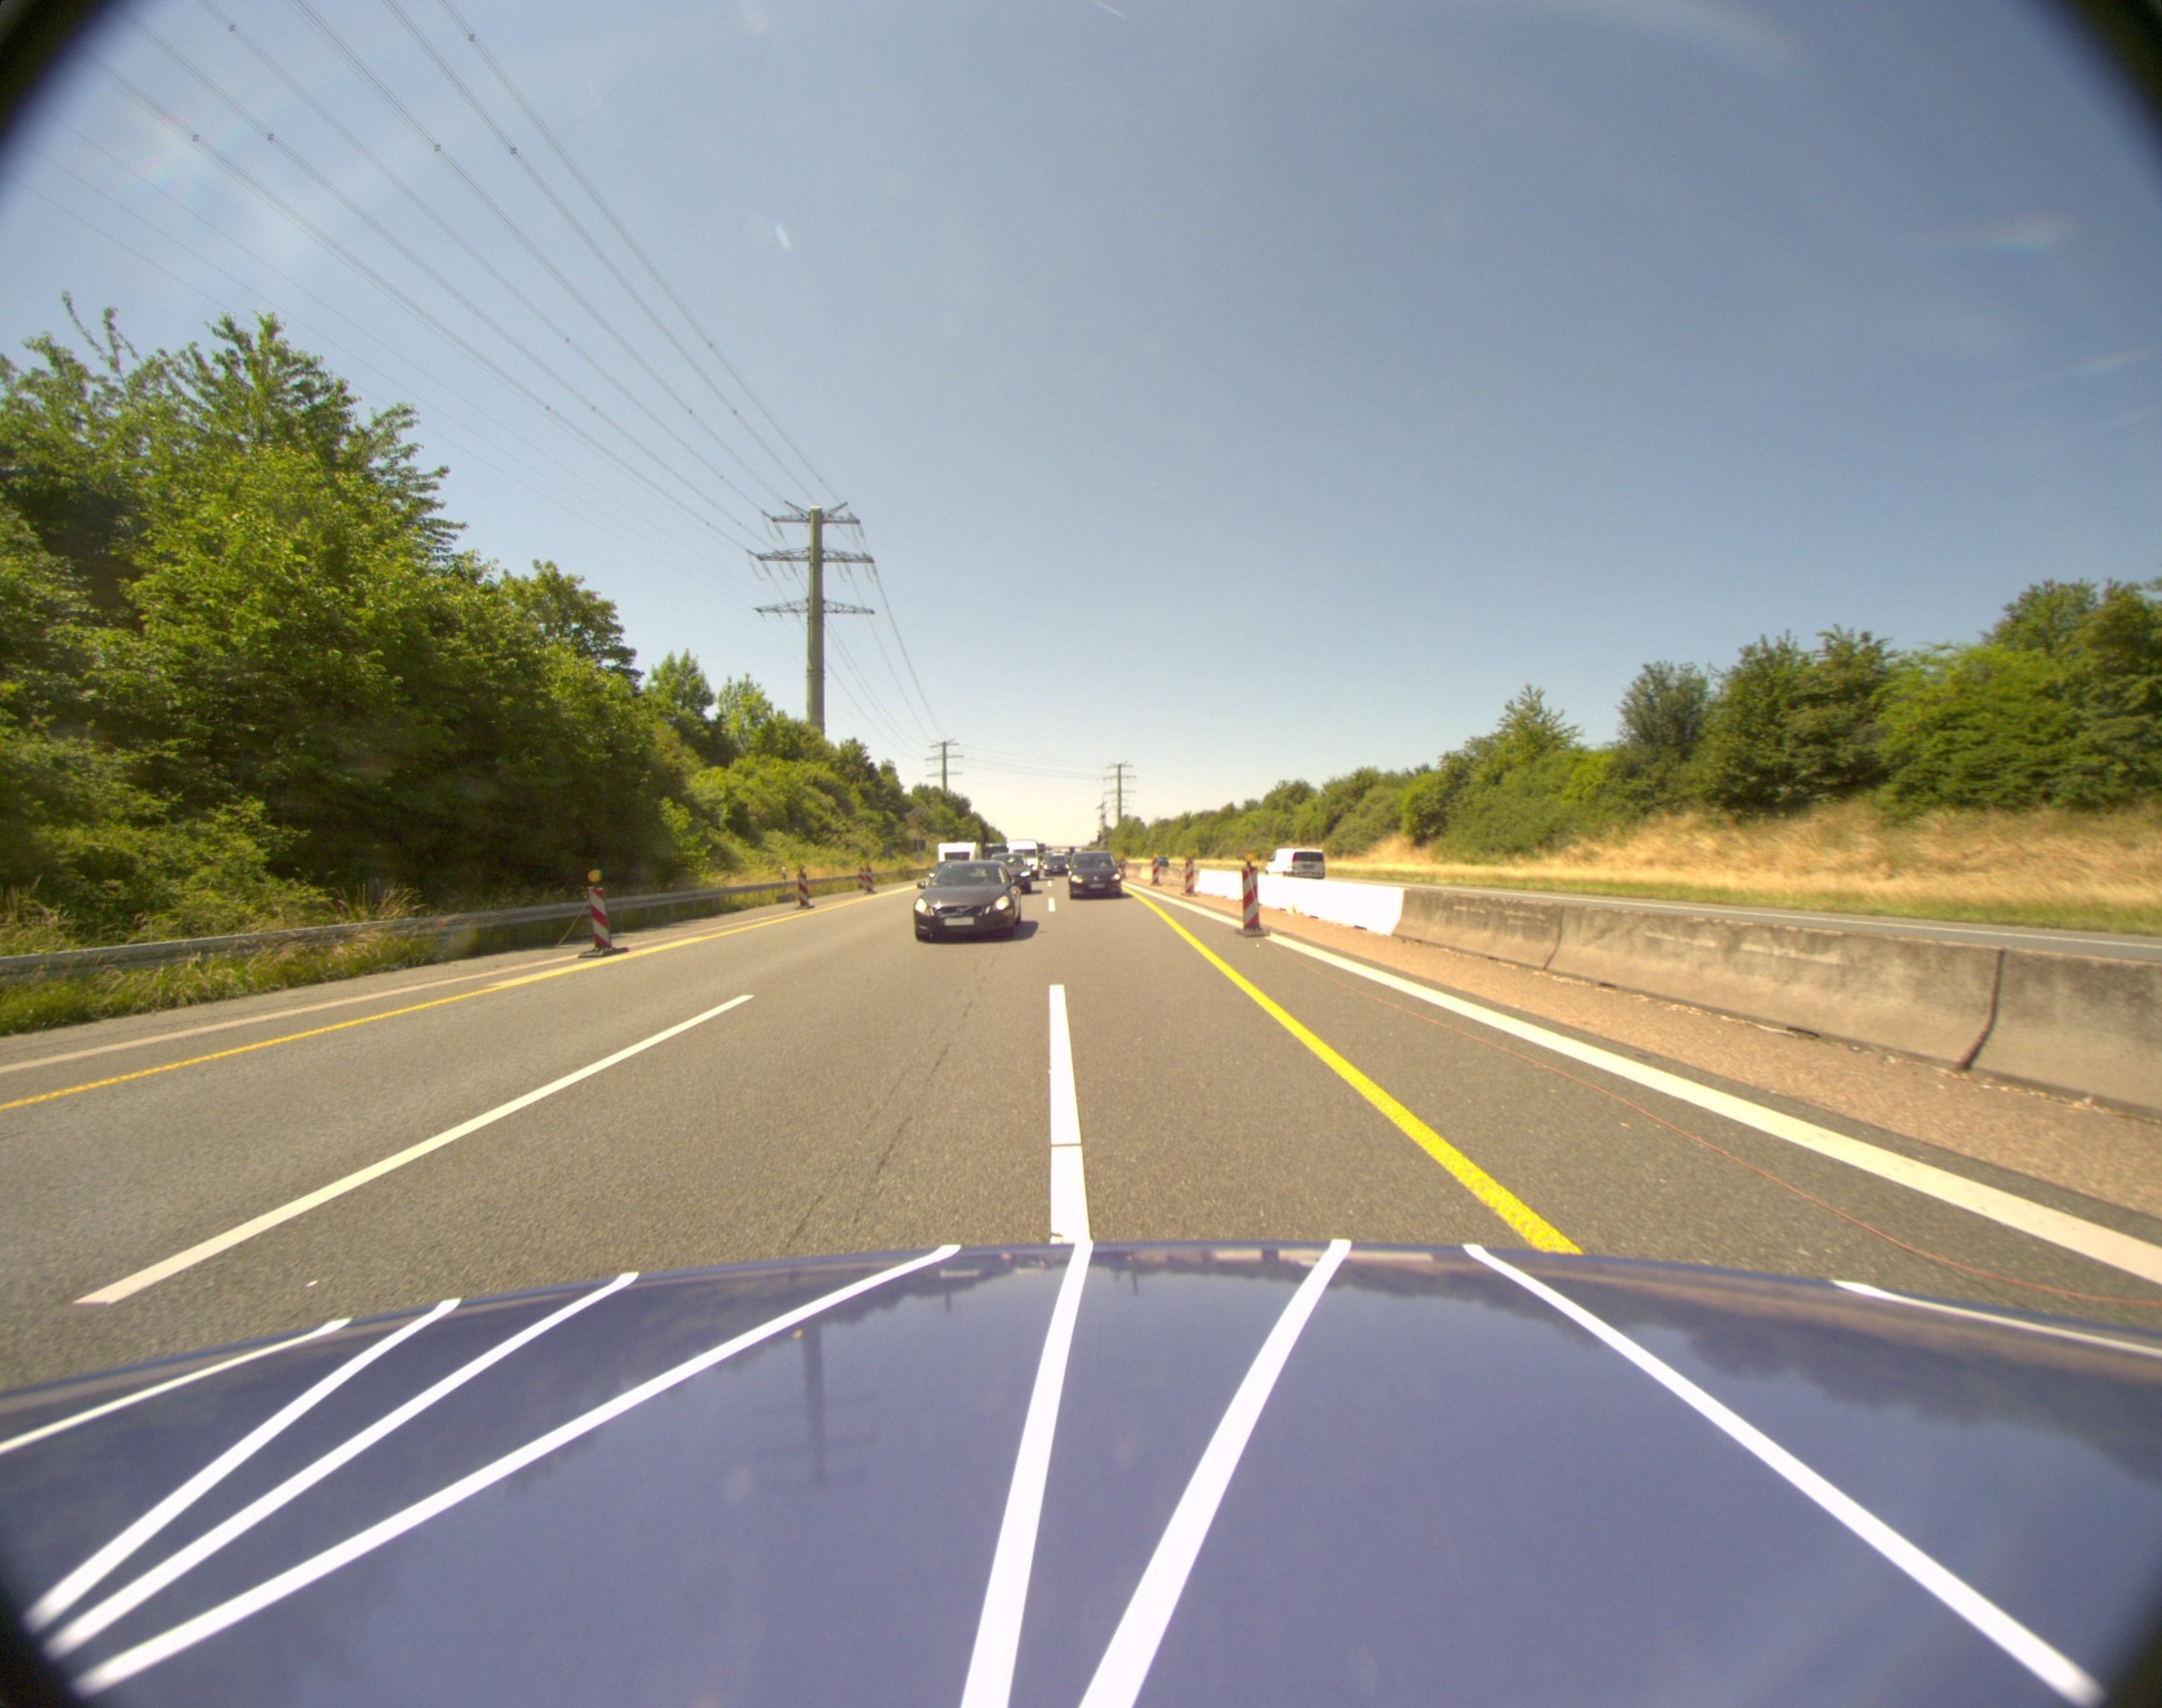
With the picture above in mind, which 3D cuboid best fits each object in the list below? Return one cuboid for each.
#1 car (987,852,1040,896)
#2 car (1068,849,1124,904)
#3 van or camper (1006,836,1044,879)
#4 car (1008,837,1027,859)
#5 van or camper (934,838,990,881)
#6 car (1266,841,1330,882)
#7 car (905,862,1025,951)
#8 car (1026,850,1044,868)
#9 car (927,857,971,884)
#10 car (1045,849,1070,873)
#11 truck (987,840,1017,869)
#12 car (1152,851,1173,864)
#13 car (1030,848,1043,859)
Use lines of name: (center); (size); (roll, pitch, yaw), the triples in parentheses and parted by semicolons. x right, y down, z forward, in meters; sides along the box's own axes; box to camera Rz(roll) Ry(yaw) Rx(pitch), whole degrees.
car: (-2.754, 0.756, 31.593); (1.745, 1.658, 4.157); (-2, 0, 1)
car: (0.494, 0.694, 26.141); (1.675, 1.619, 4.690); (-4, 0, 1)
van or camper: (-3.449, 0.197, 48.091); (1.998, 2.604, 5.628); (0, 0, 0)
car: (-11.481, -1.021, 138.257); (2.397, 3.779, 10.271); (-2, 1, 0)
van or camper: (-7.659, 0.297, 49.823); (2.432, 2.549, 8.415); (-2, 0, -1)
car: (11.700, 0.346, 41.396); (1.968, 2.073, 4.937); (0, 1, -1)
car: (-2.161, 0.936, 15.190); (1.799, 1.433, 3.999); (-2, 0, -1)
car: (-4.650, 0.484, 77.515); (1.745, 1.658, 4.156); (-2, 0, -3)
car: (-7.493, 0.921, 43.479); (1.801, 1.399, 4.209); (-1, 0, -1)
car: (-1.738, 0.488, 55.440); (1.745, 1.658, 4.156); (-2, 0, -3)
truck: (-9.121, 0.035, 88.536); (2.431, 3.122, 7.647); (-4, 0, 1)
car: (9.785, 0.405, 91.672); (1.895, 1.508, 3.478); (-1, 0, -4)
car: (-6.527, -0.065, 111.991); (1.745, 1.658, 4.156); (-2, 0, -3)
